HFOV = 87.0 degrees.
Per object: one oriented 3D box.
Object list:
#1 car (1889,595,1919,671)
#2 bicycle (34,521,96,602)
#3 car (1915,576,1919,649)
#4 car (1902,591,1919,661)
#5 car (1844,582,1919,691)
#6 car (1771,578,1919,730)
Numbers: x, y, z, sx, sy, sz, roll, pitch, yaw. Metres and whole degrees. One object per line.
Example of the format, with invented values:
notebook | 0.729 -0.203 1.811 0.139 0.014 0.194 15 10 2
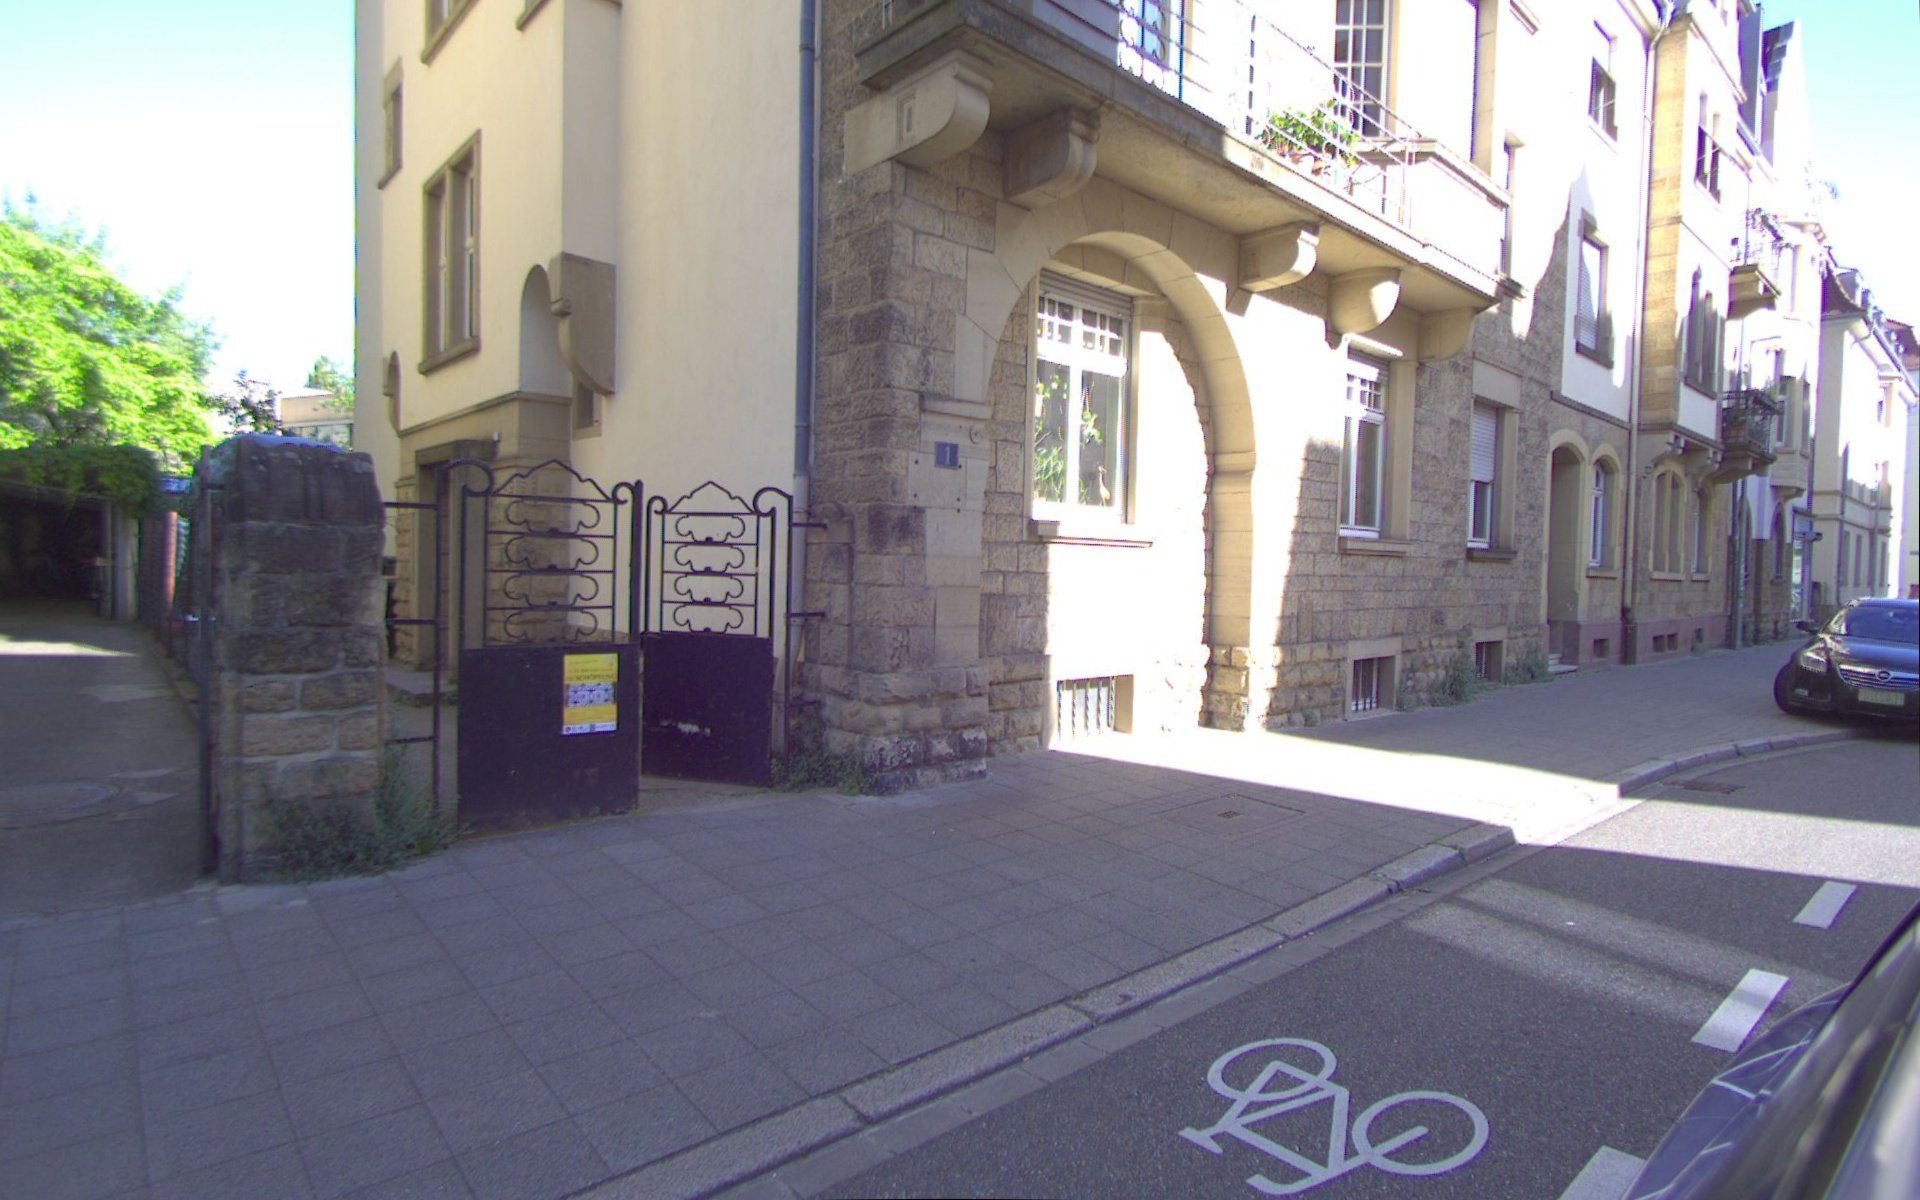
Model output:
car | 18.797 0.618 18.974 3.667 1.295 1.659 -1 4 -42
bicycle | -18.299 -0.816 20.727 0.903 1.530 2.672 0 4 -41
car | 26.236 0.335 26.053 4.247 1.860 2.004 -1 4 -42
car | 22.173 0.581 22.196 4.247 1.440 1.823 -1 4 -42
car | 15.534 0.565 15.870 4.247 1.527 2.004 0 3 -42
car | 11.527 0.569 12.207 4.043 1.526 2.023 -1 5 -42
